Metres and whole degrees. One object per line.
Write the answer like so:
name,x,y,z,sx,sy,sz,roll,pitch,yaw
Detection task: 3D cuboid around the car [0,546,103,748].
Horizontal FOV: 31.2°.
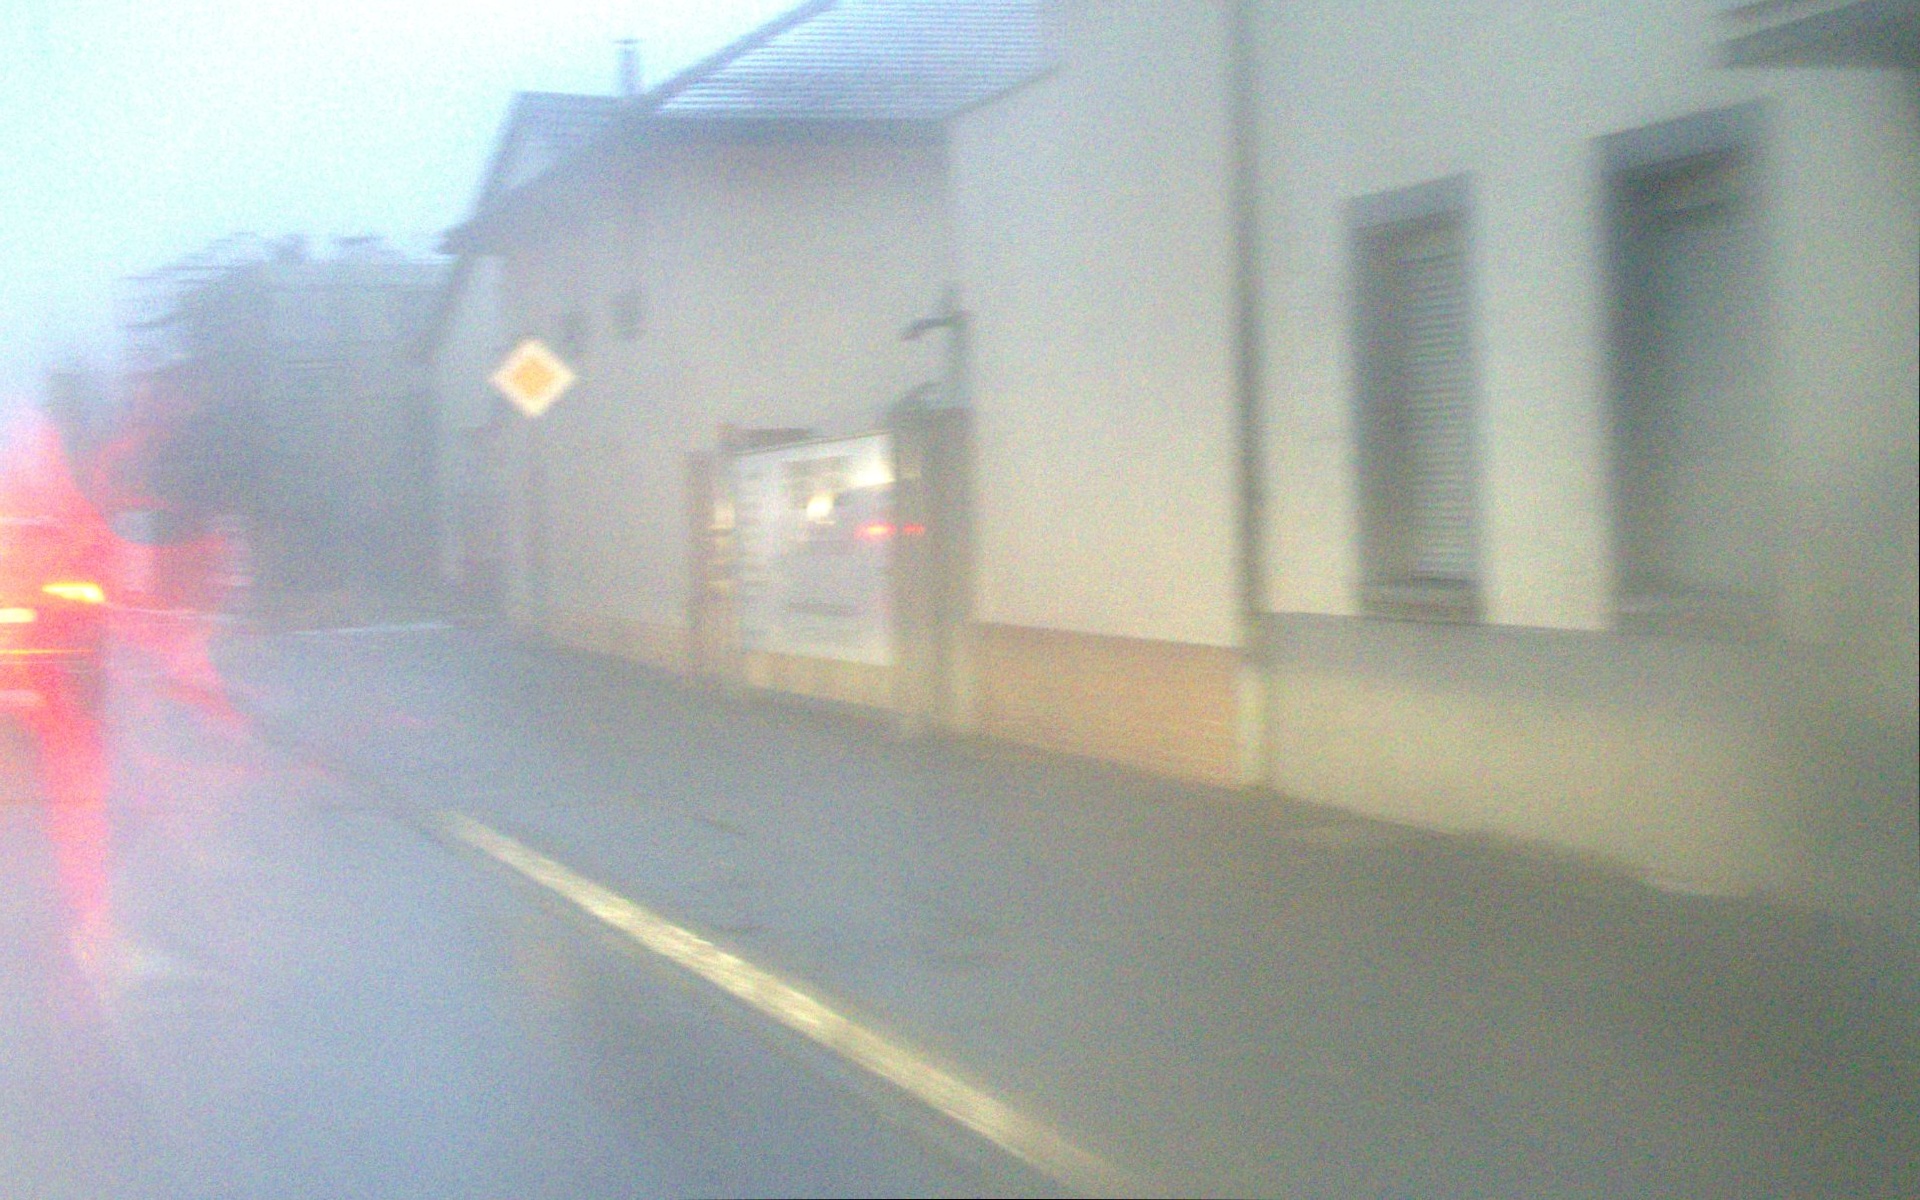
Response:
car,-8.442,0.366,29.245,2.046,1.567,4.704,-2,1,-16
